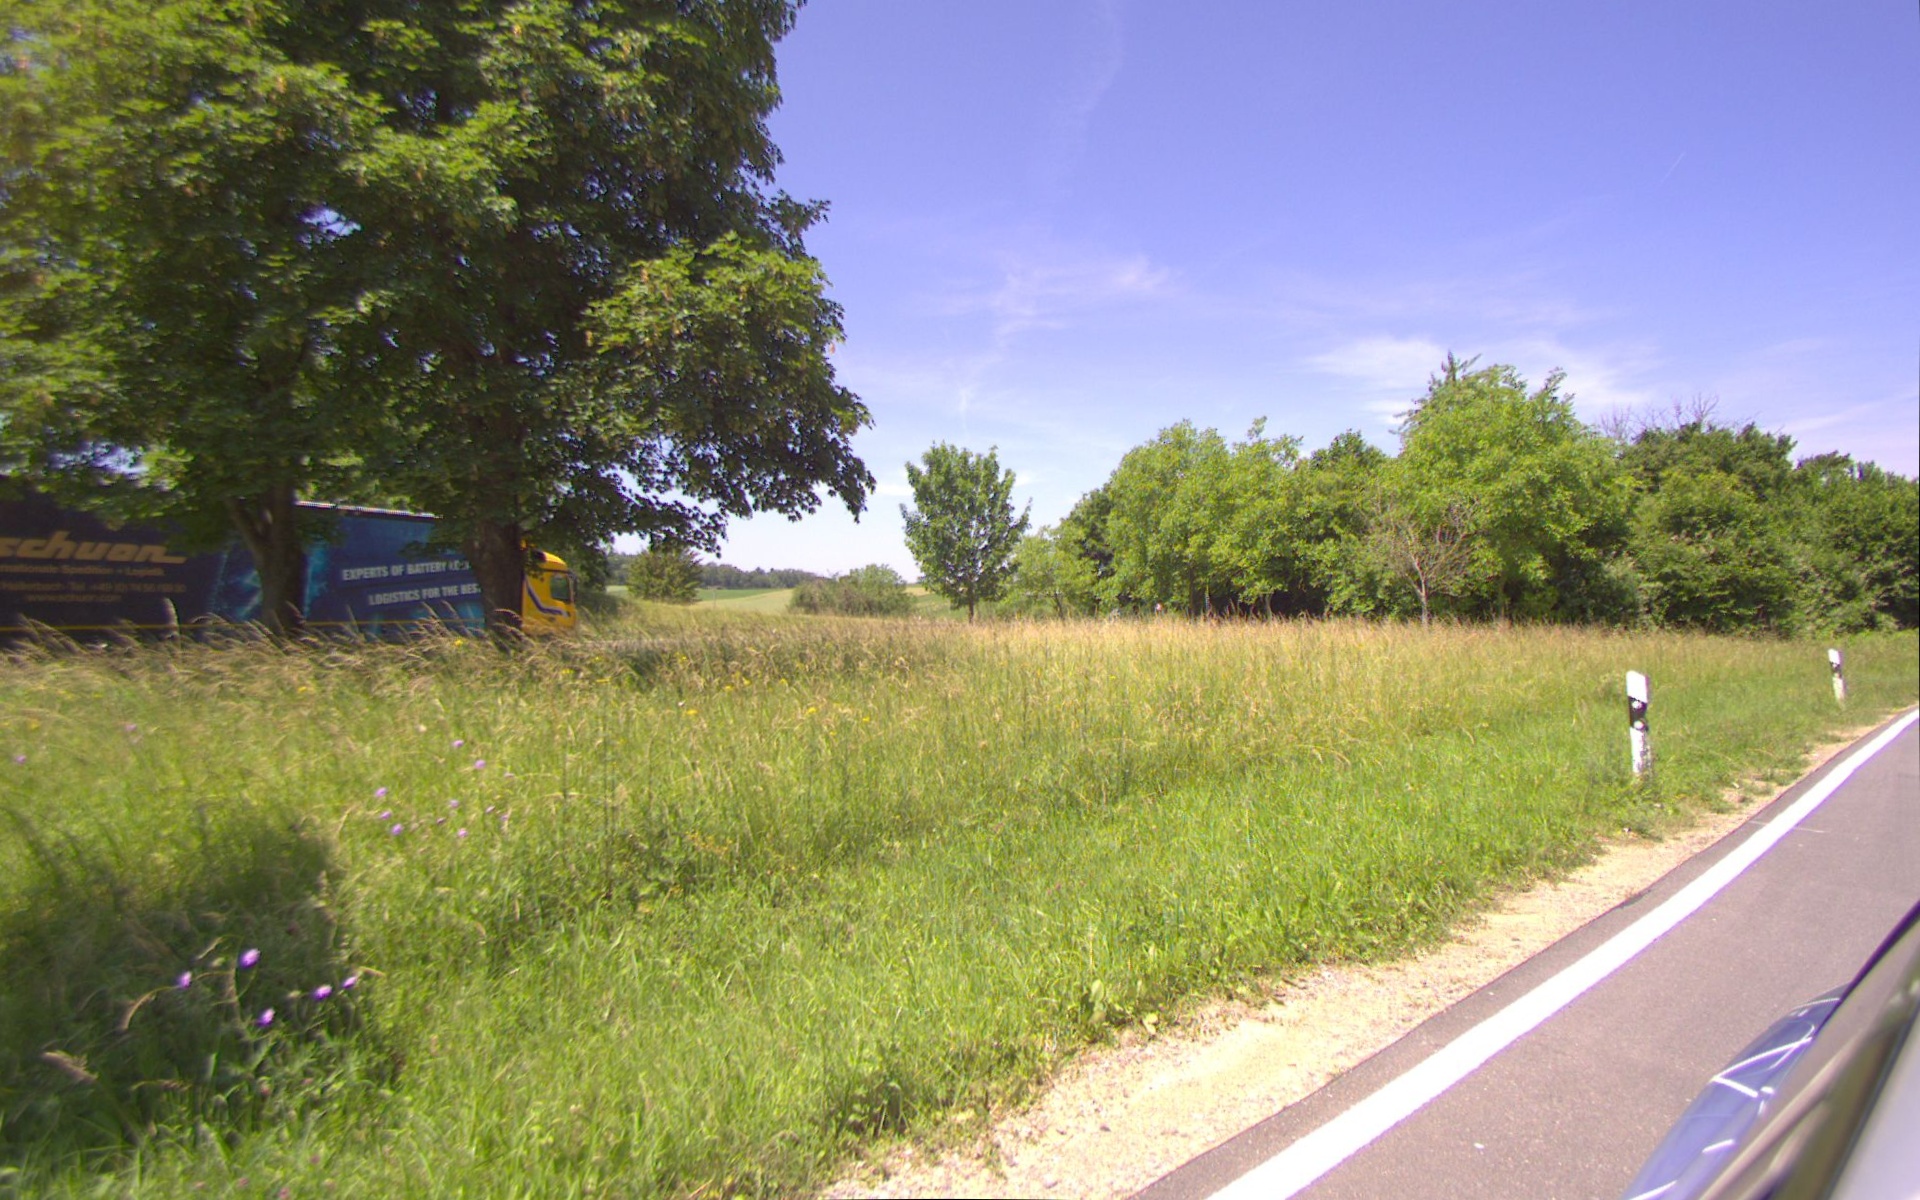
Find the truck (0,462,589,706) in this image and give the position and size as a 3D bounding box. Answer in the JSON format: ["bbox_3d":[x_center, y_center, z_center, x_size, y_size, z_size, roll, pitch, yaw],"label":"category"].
[{"bbox_3d":[-15.650,-0.244,23.954,2.816,4.184,16.699,0,0,20],"label":"truck"}]
